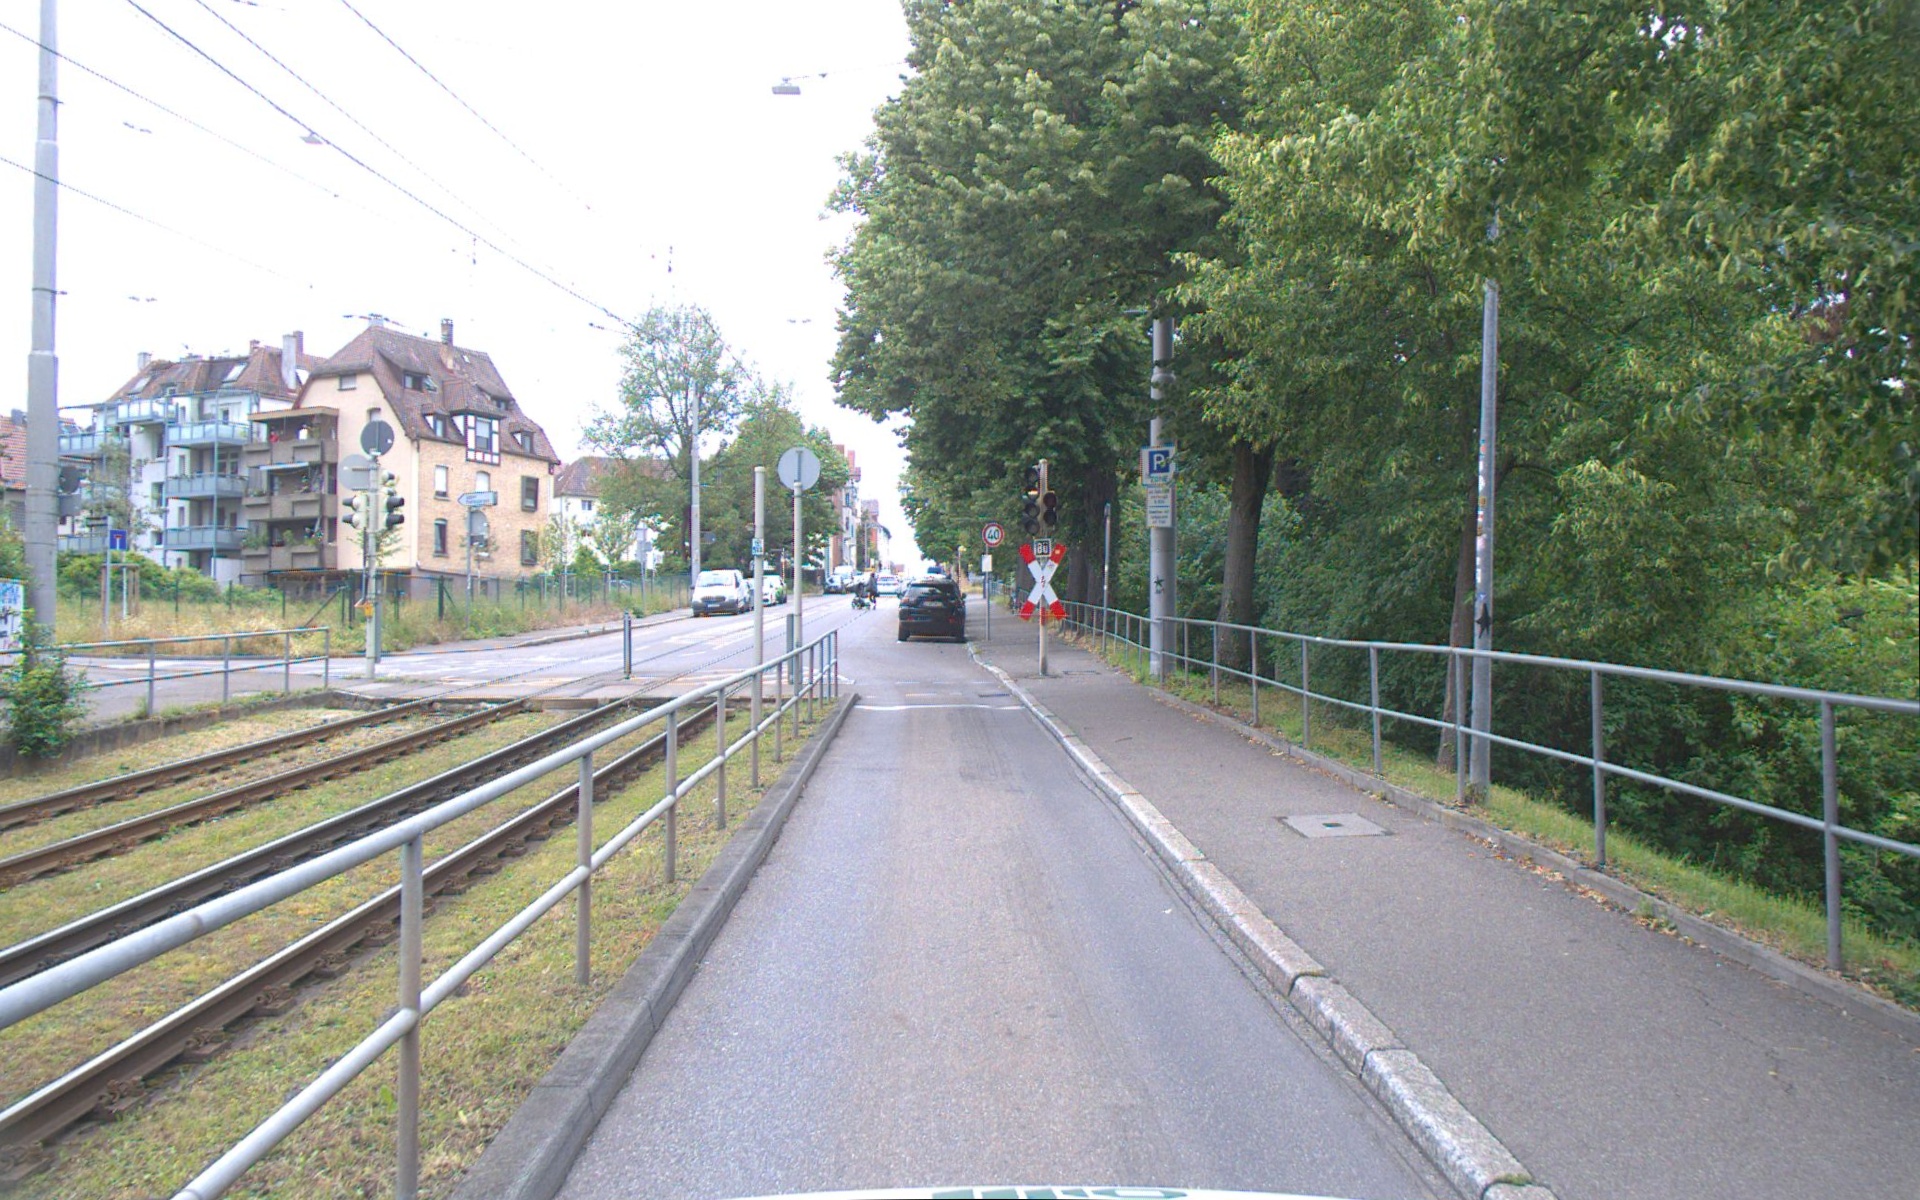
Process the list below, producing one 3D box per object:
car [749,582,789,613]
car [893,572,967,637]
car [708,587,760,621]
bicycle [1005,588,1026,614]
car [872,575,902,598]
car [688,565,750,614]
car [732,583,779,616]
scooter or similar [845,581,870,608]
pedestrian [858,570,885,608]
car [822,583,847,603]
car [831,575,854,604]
[{"bbox_3d":[-10.458,-0.160,90.638,1.688,1.607,4.180,-1,0,-1],"label":"car"},{"bbox_3d":[-0.771,0.086,44.974,1.865,1.643,4.600,1,0,0],"label":"car"},{"bbox_3d":[-10.420,0.154,76.497,1.858,1.457,4.510,-1,1,-1],"label":"car"},{"bbox_3d":[2.142,0.053,63.767,0.419,0.993,1.790,0,0,-11],"label":"bicycle"},{"bbox_3d":[-4.941,-0.914,112.558,1.953,1.525,4.311,0,0,-1],"label":"car"},{"bbox_3d":[-10.267,-0.417,70.735,1.995,1.914,4.883,-3,0,-2],"label":"car"},{"bbox_3d":[-10.438,-0.033,84.786,1.847,1.552,4.662,-2,0,-1],"label":"car"},{"bbox_3d":[-4.611,-0.247,74.613,0.824,1.217,0.803,0,-1,41],"label":"scooter or similar"},{"bbox_3d":[-3.981,-0.481,74.069,0.900,1.657,0.803,0,-1,41],"label":"pedestrian"},{"bbox_3d":[-11.451,-0.622,151.029,1.952,1.840,4.000,0,0,0],"label":"car"},{"bbox_3d":[-11.730,-1.054,165.517,2.186,2.812,5.796,0,0,-3],"label":"car"}]
